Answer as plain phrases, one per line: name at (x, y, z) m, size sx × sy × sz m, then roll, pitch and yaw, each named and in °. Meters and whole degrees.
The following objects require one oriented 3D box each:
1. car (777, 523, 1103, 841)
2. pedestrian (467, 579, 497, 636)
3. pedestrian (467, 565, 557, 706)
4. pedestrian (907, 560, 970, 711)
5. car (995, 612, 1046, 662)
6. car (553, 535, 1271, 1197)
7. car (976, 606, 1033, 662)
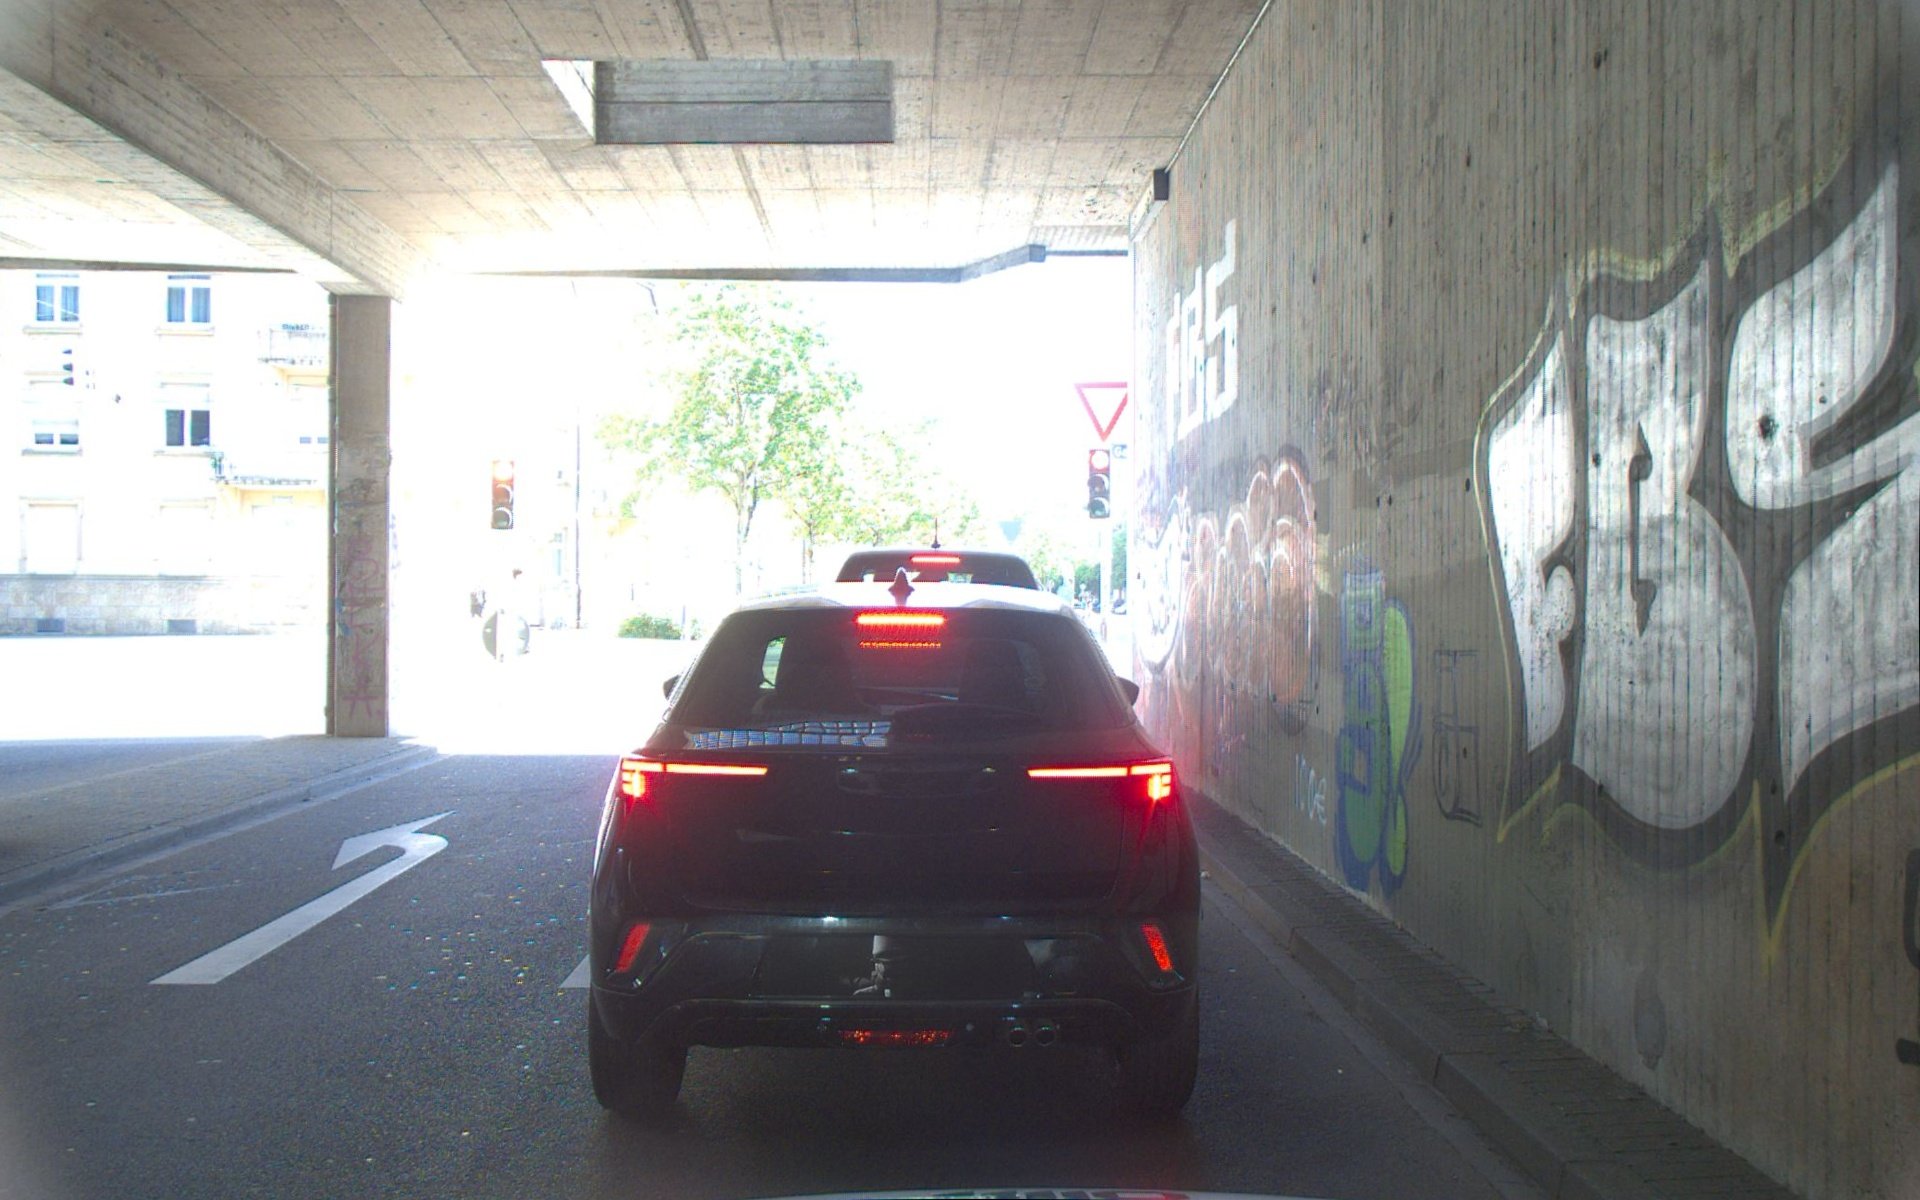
car at (-0.147, 0.478, 11.962) m, size 1.953 × 1.904 × 3.999 m, roll 0°, pitch 0°, yaw -1°
pedestrian at (-14.270, 0.220, 49.417) m, size 0.658 × 1.666 × 0.740 m, roll 1°, pitch -1°, yaw -1°
pedestrian at (-5.855, 0.457, 21.662) m, size 0.910 × 1.792 × 0.794 m, roll 1°, pitch -1°, yaw 1°
pedestrian at (-0.255, 0.421, 19.904) m, size 0.716 × 1.764 × 0.874 m, roll 1°, pitch -1°, yaw -1°
car at (2.537, 1.499, 68.507) m, size 1.951 × 2.004 × 4.166 m, roll 1°, pitch 0°, yaw 4°
car at (-0.144, 0.611, 6.043) m, size 1.729 × 1.598 × 4.000 m, roll 1°, pitch 1°, yaw -1°
car at (1.709, 1.256, 62.303) m, size 1.951 × 2.004 × 4.166 m, roll 1°, pitch 0°, yaw 4°
